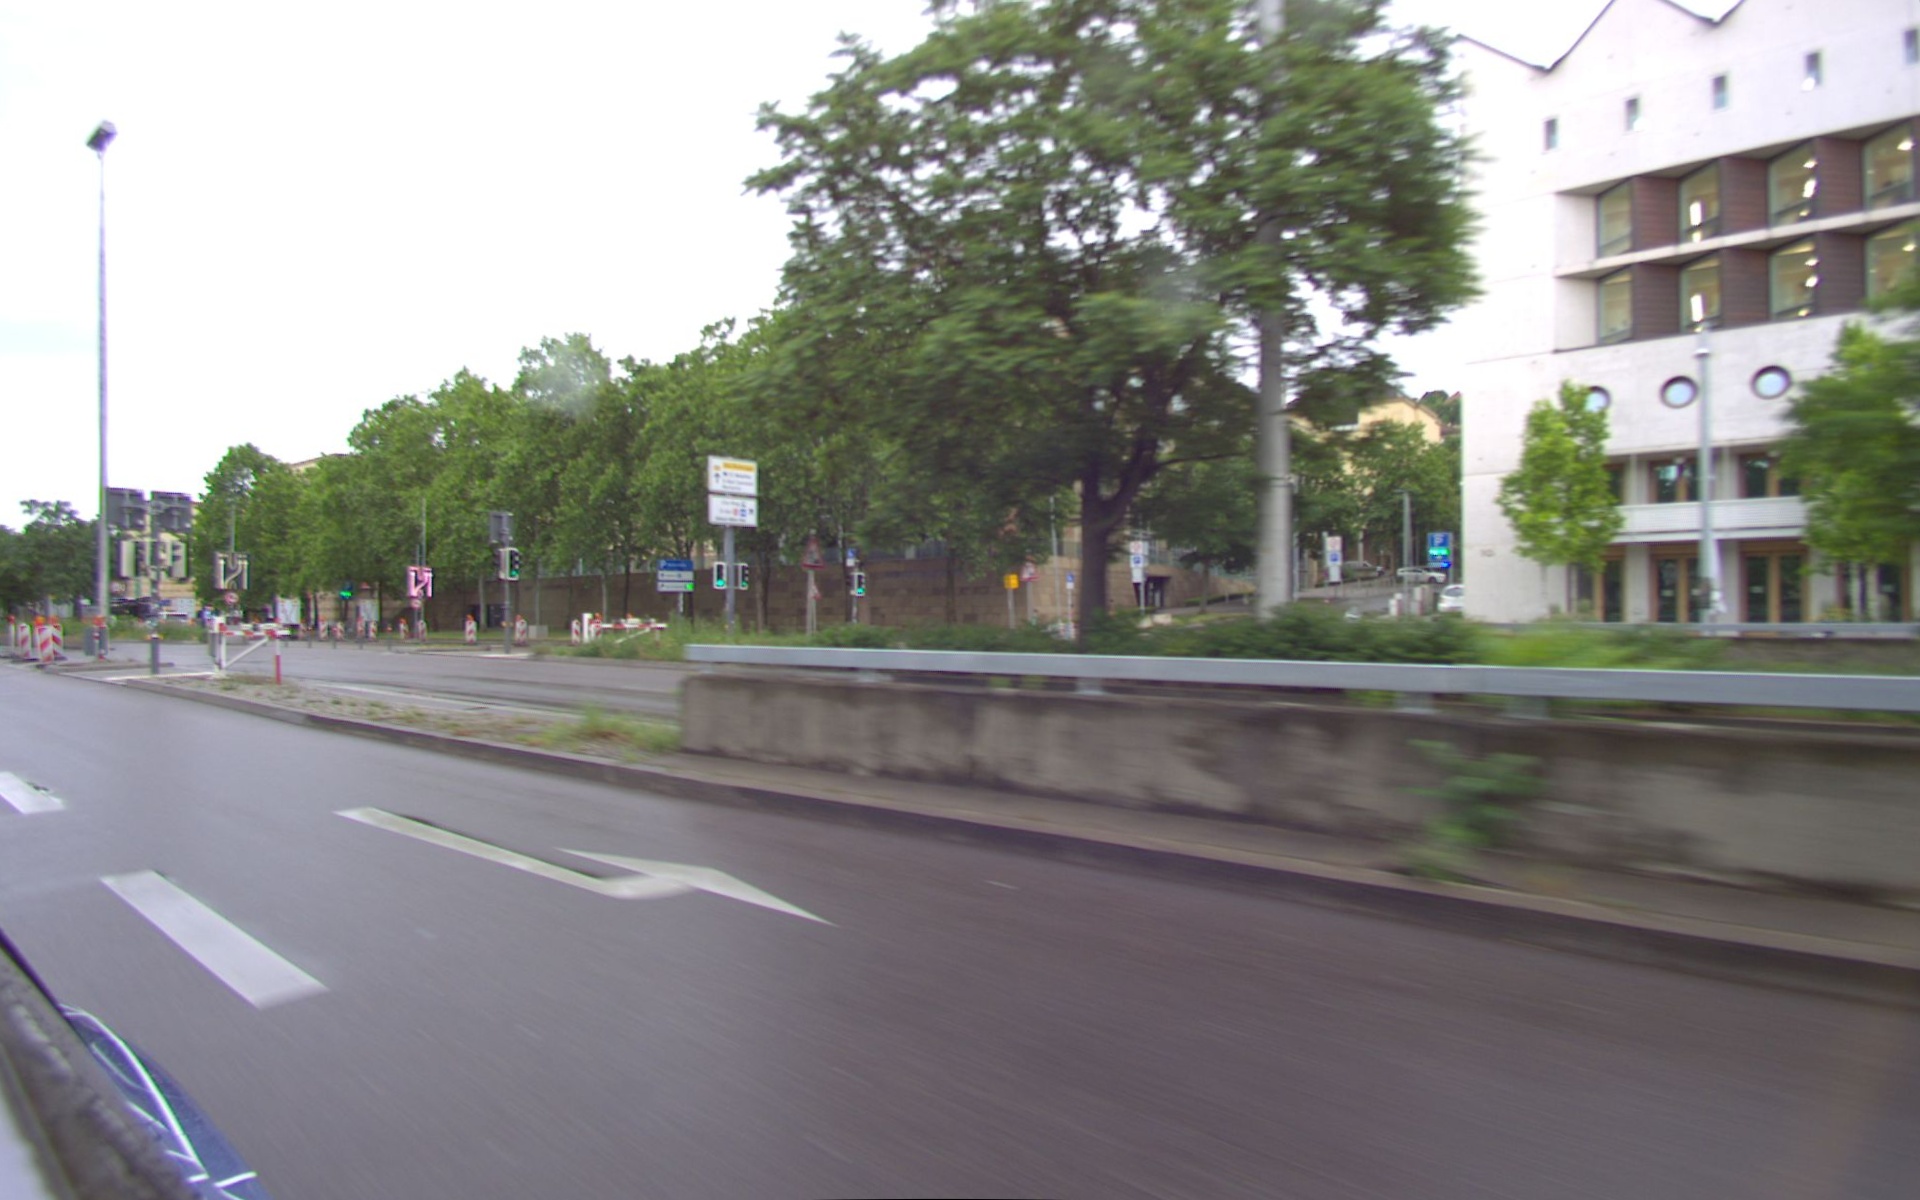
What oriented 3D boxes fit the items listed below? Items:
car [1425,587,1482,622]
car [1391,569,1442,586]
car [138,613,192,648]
[{"bbox_3d":[24.113,0.210,49.420,1.760,1.624,3.486,-1,0,39],"label":"car"},{"bbox_3d":[41.721,-2.055,92.531,3.959,1.375,1.589,-1,0,38],"label":"car"},{"bbox_3d":[-55.824,2.126,71.049,4.223,2.316,1.975,-1,0,38],"label":"car"}]
